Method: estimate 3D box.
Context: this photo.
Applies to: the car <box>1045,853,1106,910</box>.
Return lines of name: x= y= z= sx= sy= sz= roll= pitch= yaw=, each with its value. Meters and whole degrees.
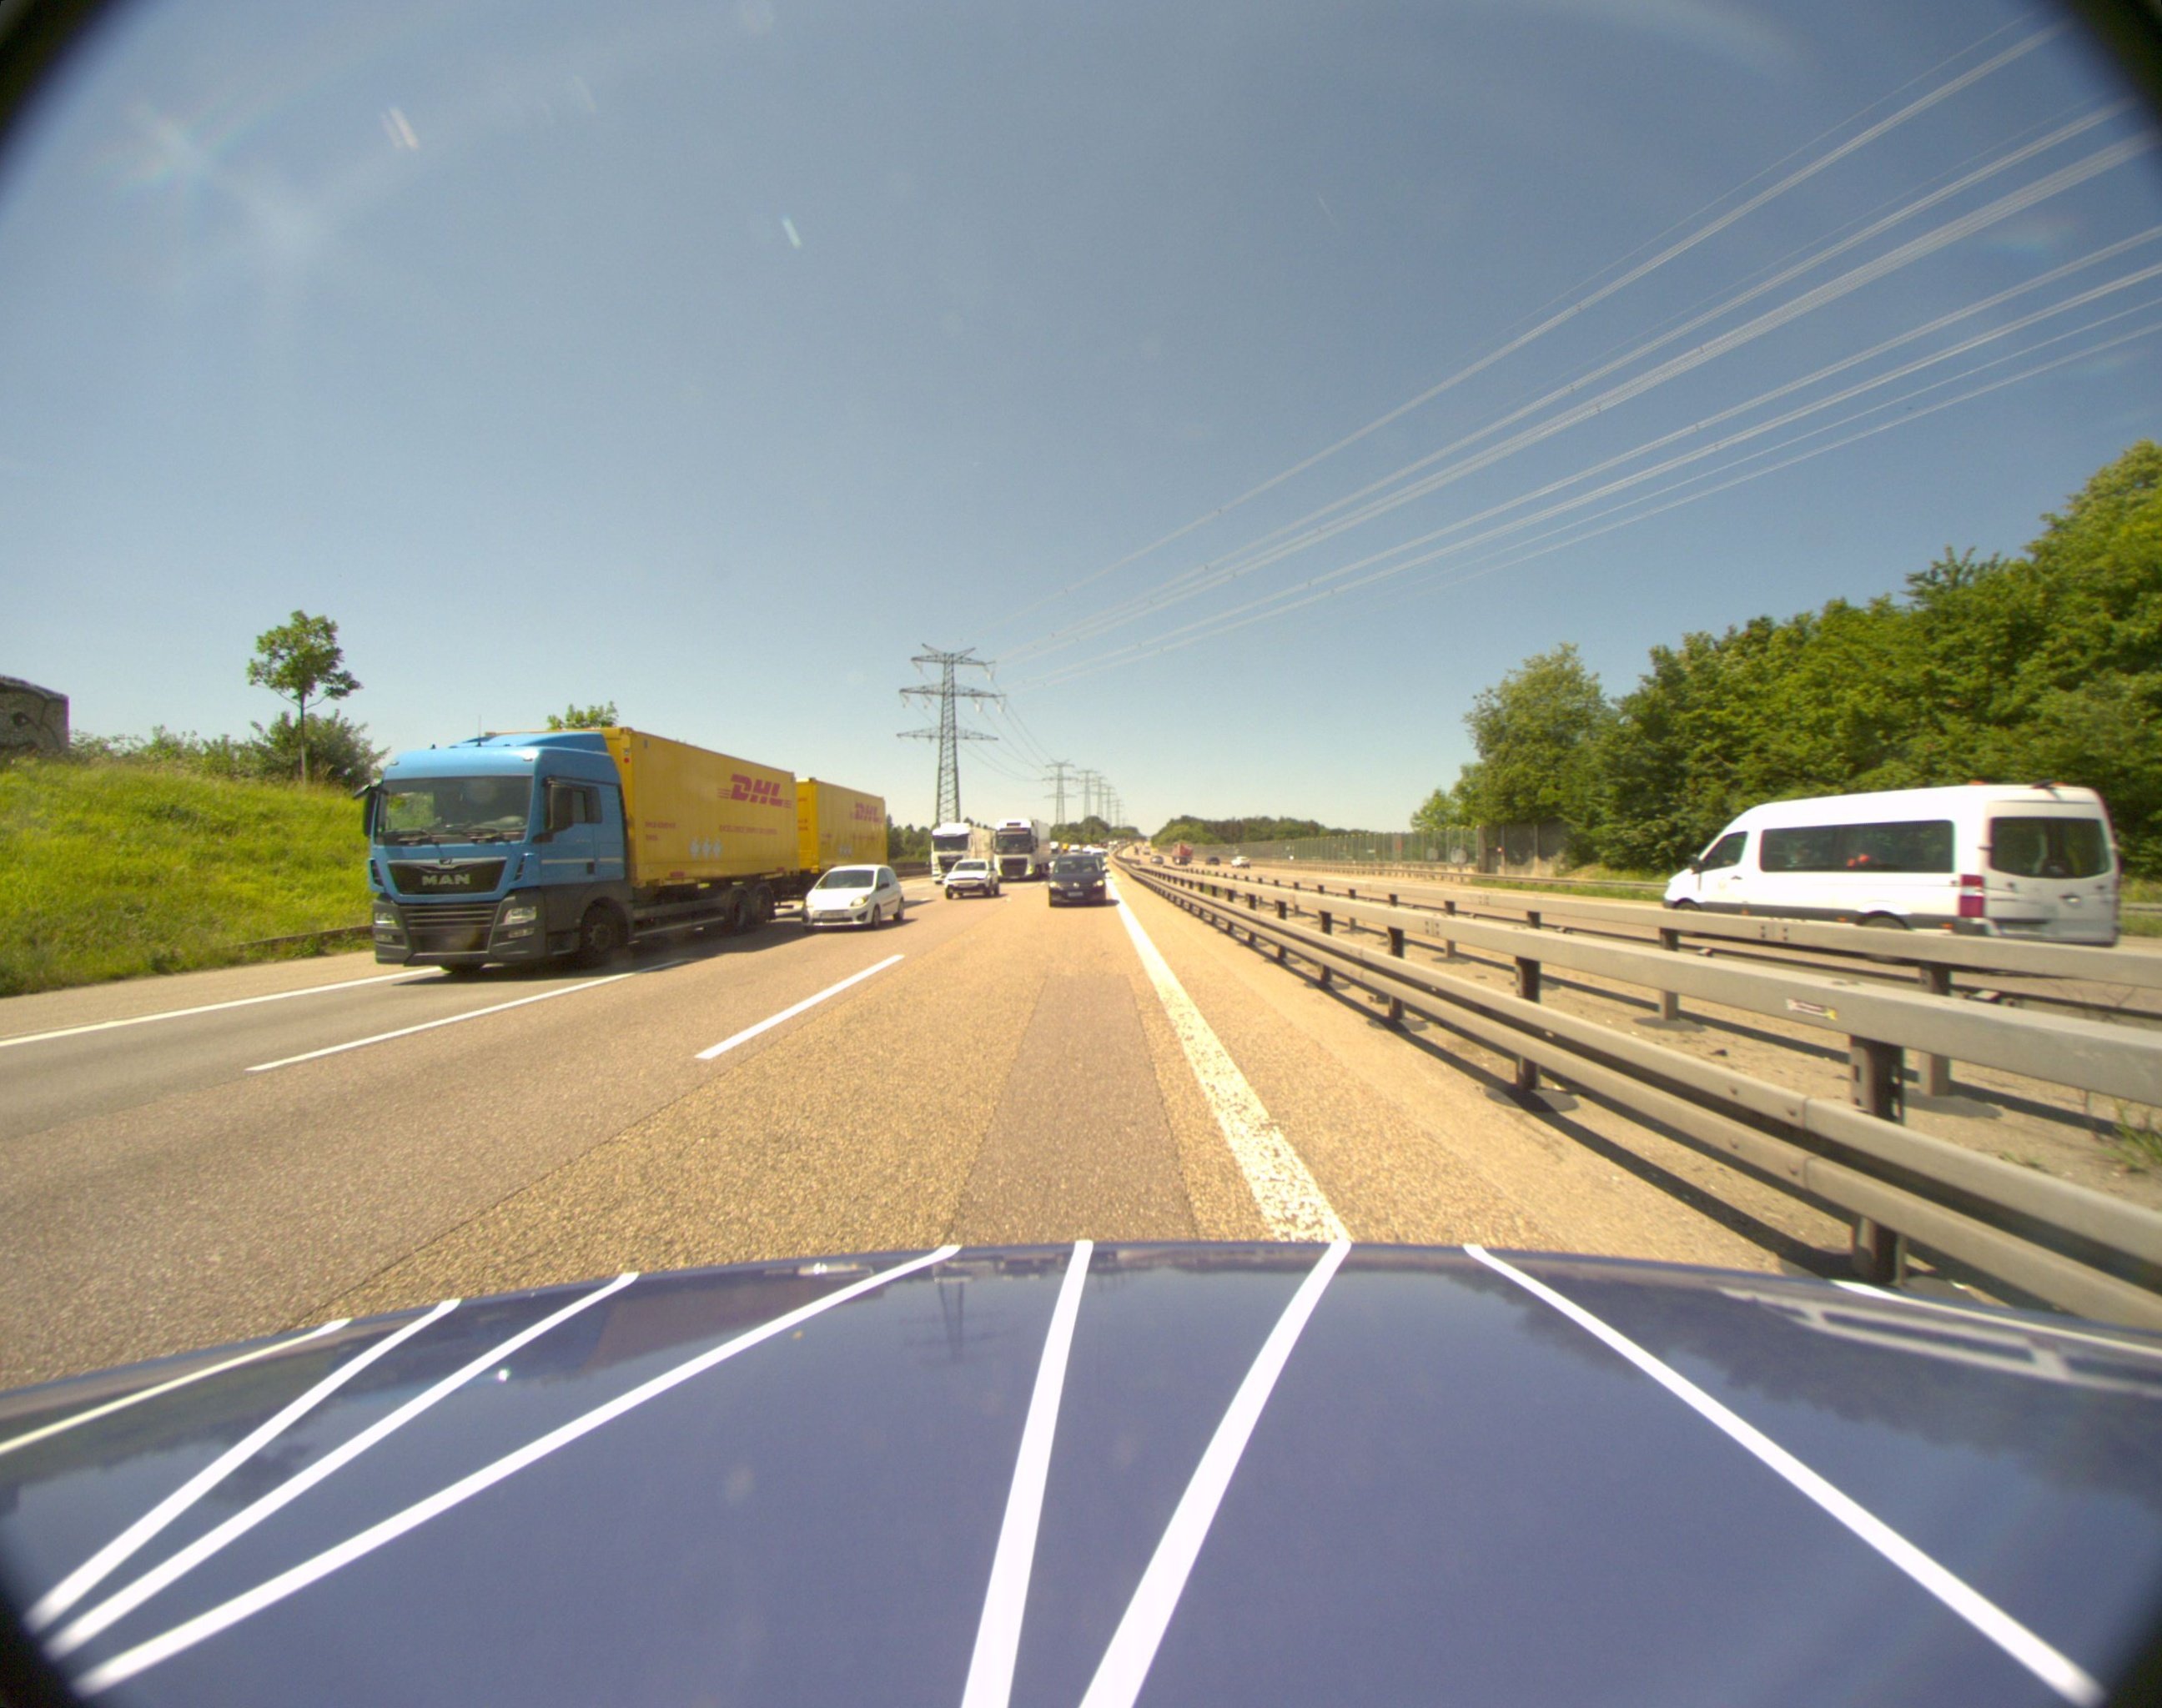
car: x=-0.095 y=0.822 z=24.518 sx=1.748 sy=1.569 sz=4.000 roll=-2 pitch=1 yaw=2

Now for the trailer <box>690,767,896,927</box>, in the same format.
trailer: x=-8.739 y=-0.158 z=24.692 sx=2.772 sy=4.093 sz=9.378 roll=-2 pitch=0 yaw=1

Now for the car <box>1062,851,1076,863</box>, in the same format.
car: x=-1.721 y=0.386 z=111.202 sx=1.821 sy=1.569 sz=4.000 roll=-2 pitch=1 yaw=1

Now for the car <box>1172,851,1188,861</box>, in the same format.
car: x=14.713 y=0.249 z=112.925 sx=1.881 sy=1.438 sz=4.144 roll=0 pitch=1 yaw=0

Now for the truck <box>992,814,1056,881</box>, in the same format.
truck: x=-3.738 y=-0.425 z=53.439 sx=2.717 sy=4.015 sz=14.257 roll=-2 pitch=0 yaw=2

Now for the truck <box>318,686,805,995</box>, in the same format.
truck: x=-8.859 y=-0.157 z=15.291 sx=2.772 sy=4.085 sz=9.952 roll=-2 pitch=0 yaw=0

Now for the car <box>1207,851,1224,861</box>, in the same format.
car: x=22.458 y=0.329 z=127.139 sx=1.998 sy=1.567 sz=5.275 roll=-2 pitch=1 yaw=2

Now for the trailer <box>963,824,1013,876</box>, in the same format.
trailer: x=-7.495 y=-0.342 z=62.369 sx=2.752 sy=3.918 sz=7.773 roll=-2 pitch=0 yaw=1

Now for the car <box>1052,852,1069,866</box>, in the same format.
car: x=-2.559 y=0.653 z=95.161 sx=1.821 sy=1.569 sz=4.000 roll=-2 pitch=1 yaw=1

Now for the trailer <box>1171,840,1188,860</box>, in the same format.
trailer: x=20.488 y=-0.848 z=158.866 sx=2.764 sy=3.953 sz=6.132 roll=1 pitch=0 yaw=1

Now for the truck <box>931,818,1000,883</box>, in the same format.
truck: x=-7.755 y=-0.257 z=52.819 sx=2.695 sy=3.907 sz=11.297 roll=-2 pitch=0 yaw=1

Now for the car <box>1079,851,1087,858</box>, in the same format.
car: x=0.567 y=0.057 z=182.132 sx=1.821 sy=1.569 sz=4.000 roll=-2 pitch=1 yaw=1

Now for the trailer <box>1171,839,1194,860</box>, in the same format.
trailer: x=20.372 y=-0.862 z=152.858 sx=2.770 sy=3.953 sz=14.681 roll=1 pitch=0 yaw=1

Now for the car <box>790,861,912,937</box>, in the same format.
car: x=-5.396 y=0.995 z=18.324 sx=1.659 sy=1.502 sz=3.825 roll=-2 pitch=1 yaw=1

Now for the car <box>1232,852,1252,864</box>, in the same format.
car: x=21.659 y=0.511 z=102.572 sx=1.690 sy=1.447 sz=4.344 roll=0 pitch=1 yaw=-1

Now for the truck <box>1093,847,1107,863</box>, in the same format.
truck: x=3.408 y=0.118 z=135.901 sx=2.309 sy=2.789 sz=5.110 roll=-2 pitch=1 yaw=2

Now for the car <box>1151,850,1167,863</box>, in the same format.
car: x=11.215 y=0.336 z=109.679 sx=1.778 sy=1.621 sz=3.950 roll=-2 pitch=1 yaw=0

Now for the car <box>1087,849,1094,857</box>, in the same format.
car: x=2.688 y=-0.323 z=217.751 sx=1.998 sy=2.002 sz=4.000 roll=-2 pitch=1 yaw=1

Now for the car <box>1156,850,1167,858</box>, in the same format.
car: x=16.804 y=-0.036 z=159.460 sx=1.855 sy=1.458 sz=4.304 roll=0 pitch=1 yaw=0

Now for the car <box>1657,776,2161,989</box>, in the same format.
car: x=12.840 y=0.332 z=12.637 sx=2.057 sy=2.636 sz=5.839 roll=3 pitch=1 yaw=2

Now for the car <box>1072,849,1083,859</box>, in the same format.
car: x=-0.591 y=0.020 z=133.226 sx=1.821 sy=1.569 sz=4.000 roll=-2 pitch=1 yaw=1

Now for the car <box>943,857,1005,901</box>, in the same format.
car: x=-4.272 y=0.958 z=30.907 sx=1.776 sy=1.521 sz=3.851 roll=-2 pitch=1 yaw=2
